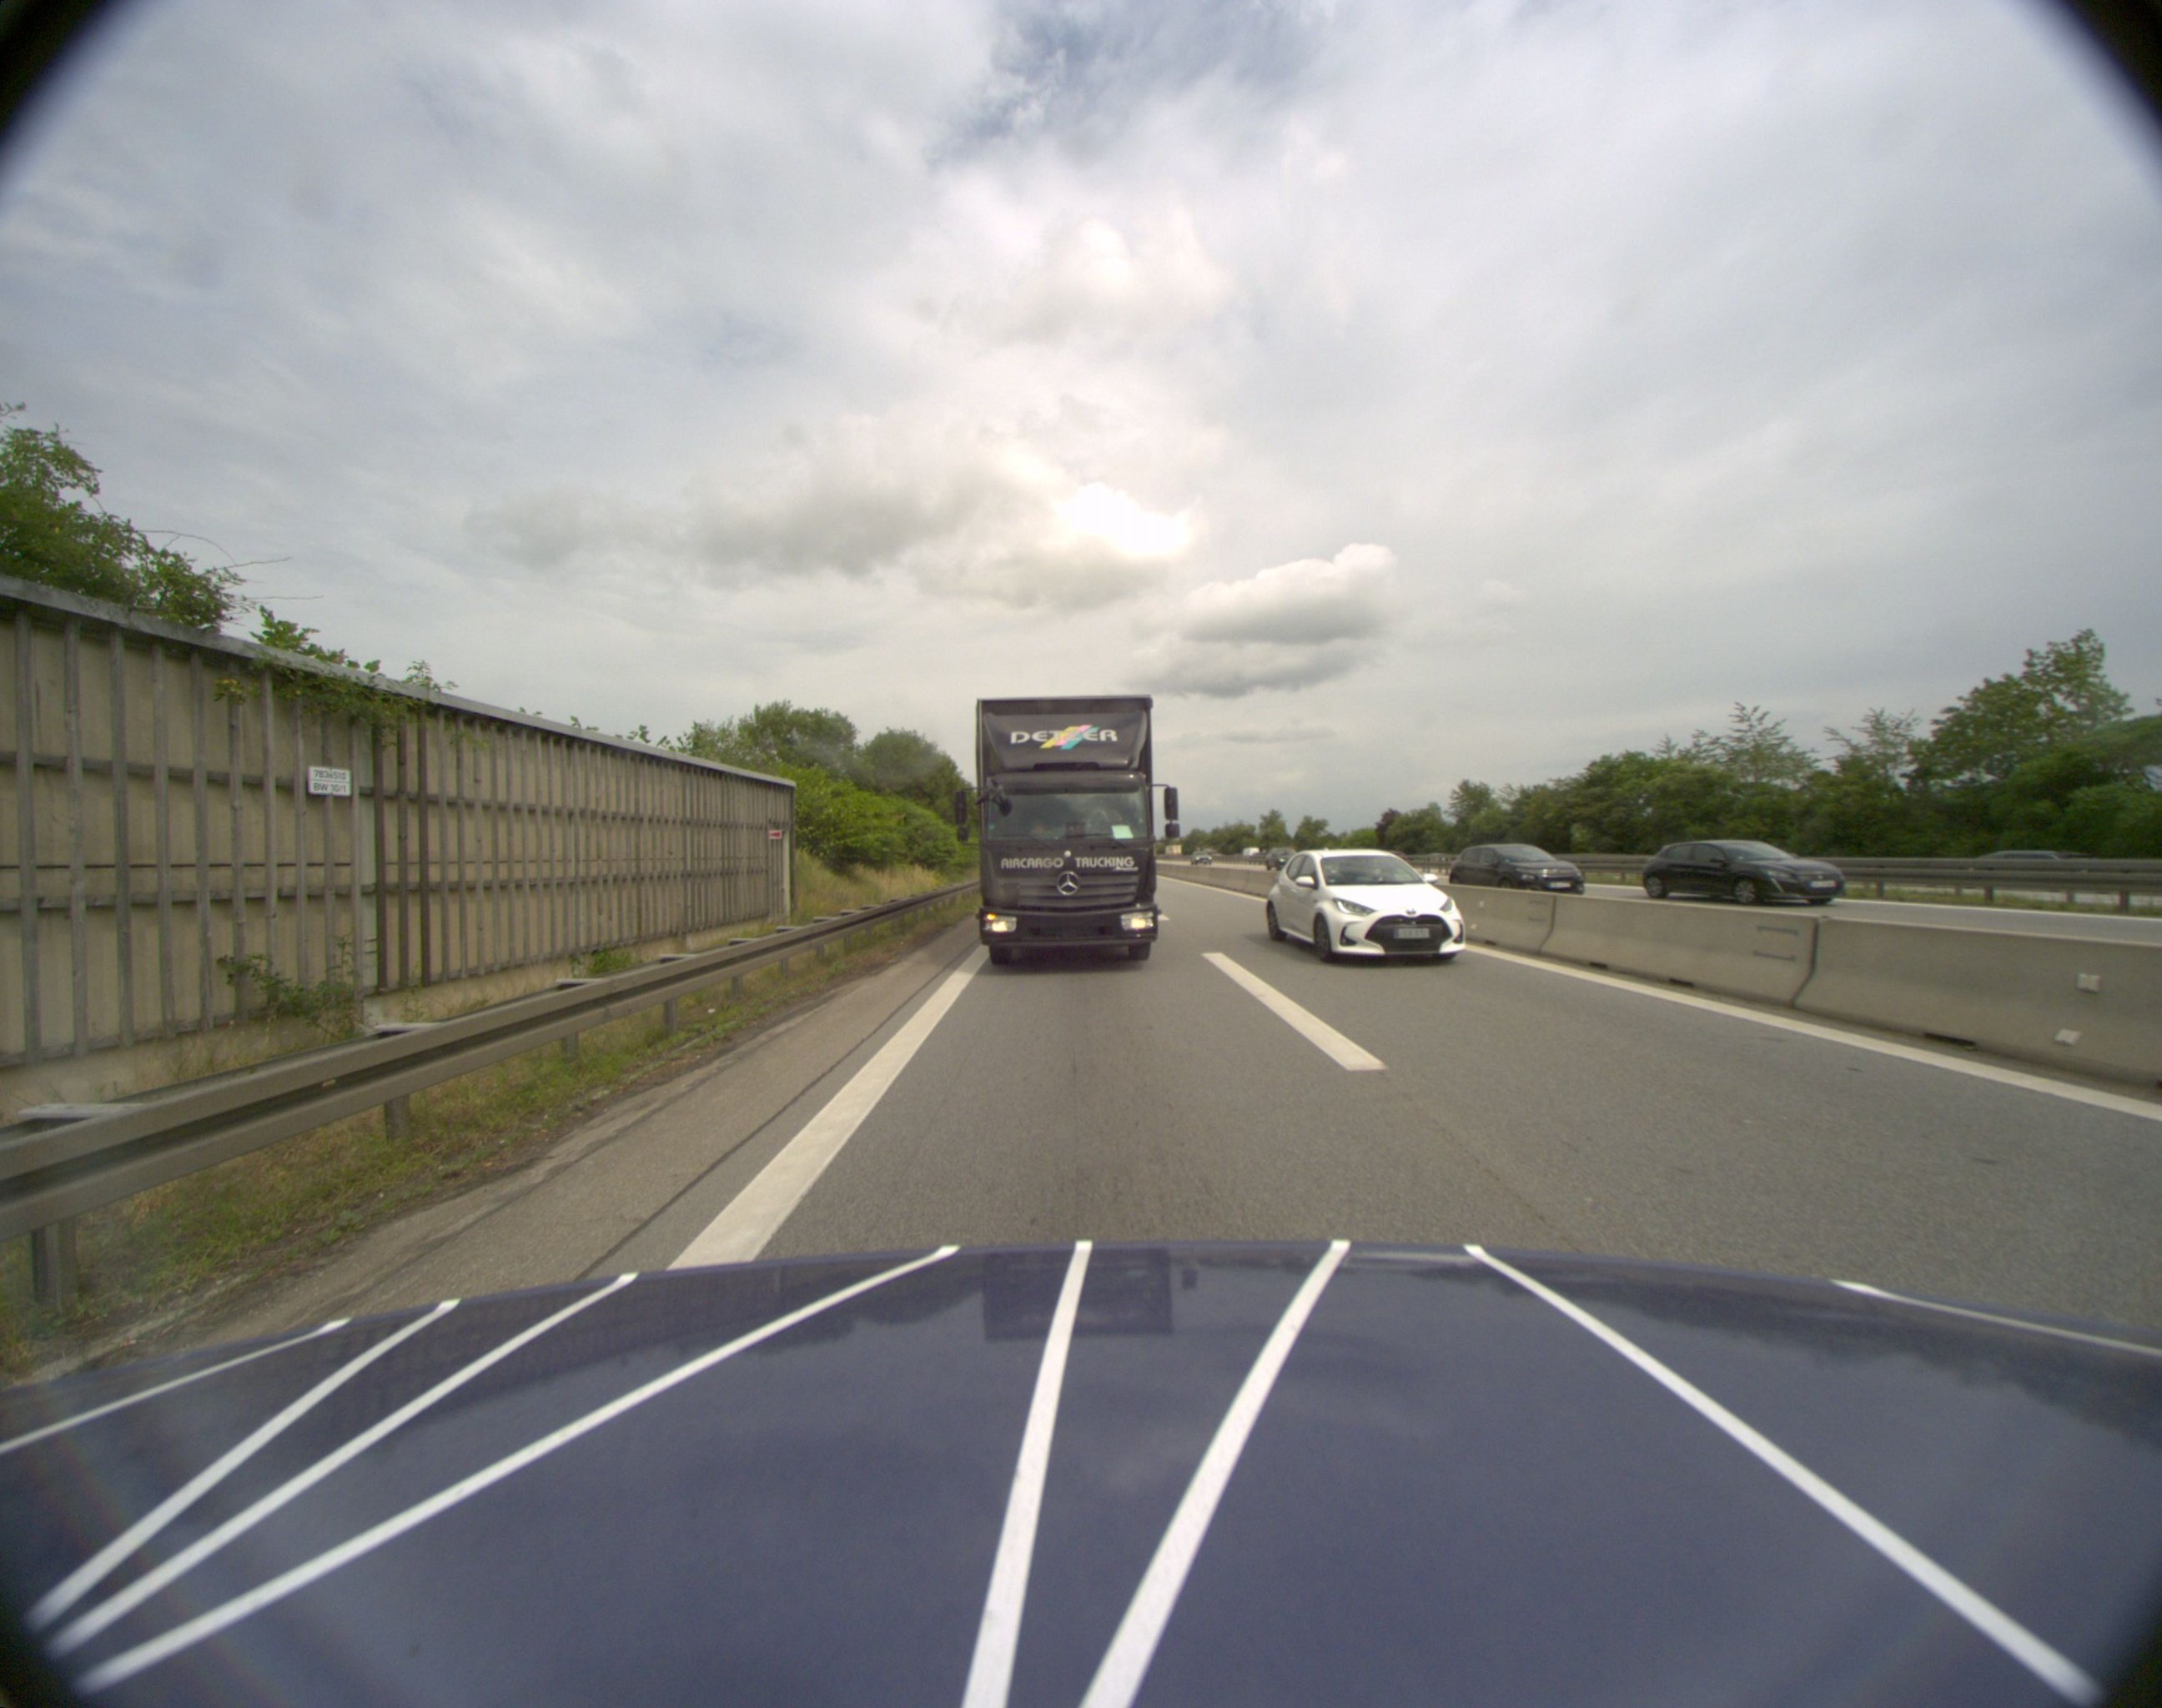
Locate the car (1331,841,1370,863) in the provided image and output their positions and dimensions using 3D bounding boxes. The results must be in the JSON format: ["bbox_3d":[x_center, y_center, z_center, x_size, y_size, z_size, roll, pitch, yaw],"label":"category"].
[{"bbox_3d":[23.437,-0.171,66.150,1.998,1.838,4.000,-1,0,1],"label":"car"}]

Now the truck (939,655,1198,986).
[{"bbox_3d":[-0.442,-0.446,14.382,3.025,3.931,10.336,-2,0,-3],"label":"truck"}]

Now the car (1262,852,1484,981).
[{"bbox_3d":[3.939,0.740,10.970,1.705,1.499,3.840,-1,0,0],"label":"car"}]

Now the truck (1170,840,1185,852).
[{"bbox_3d":[30.775,-2.538,242.089,3.260,3.760,9.835,-1,0,-1],"label":"truck"}]

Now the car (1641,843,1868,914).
[{"bbox_3d":[14.998,0.484,17.252,1.557,1.368,3.999,-2,0,0],"label":"car"}]

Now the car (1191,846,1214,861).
[{"bbox_3d":[14.049,-0.049,88.111,1.906,1.630,4.644,-2,0,0],"label":"car"}]

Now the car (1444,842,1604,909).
[{"bbox_3d":[11.267,0.487,19.679,1.778,1.521,3.999,-1,0,0],"label":"car"}]

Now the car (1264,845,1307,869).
[{"bbox_3d":[14.711,0.179,54.804,1.906,1.629,4.233,-2,0,0],"label":"car"}]
